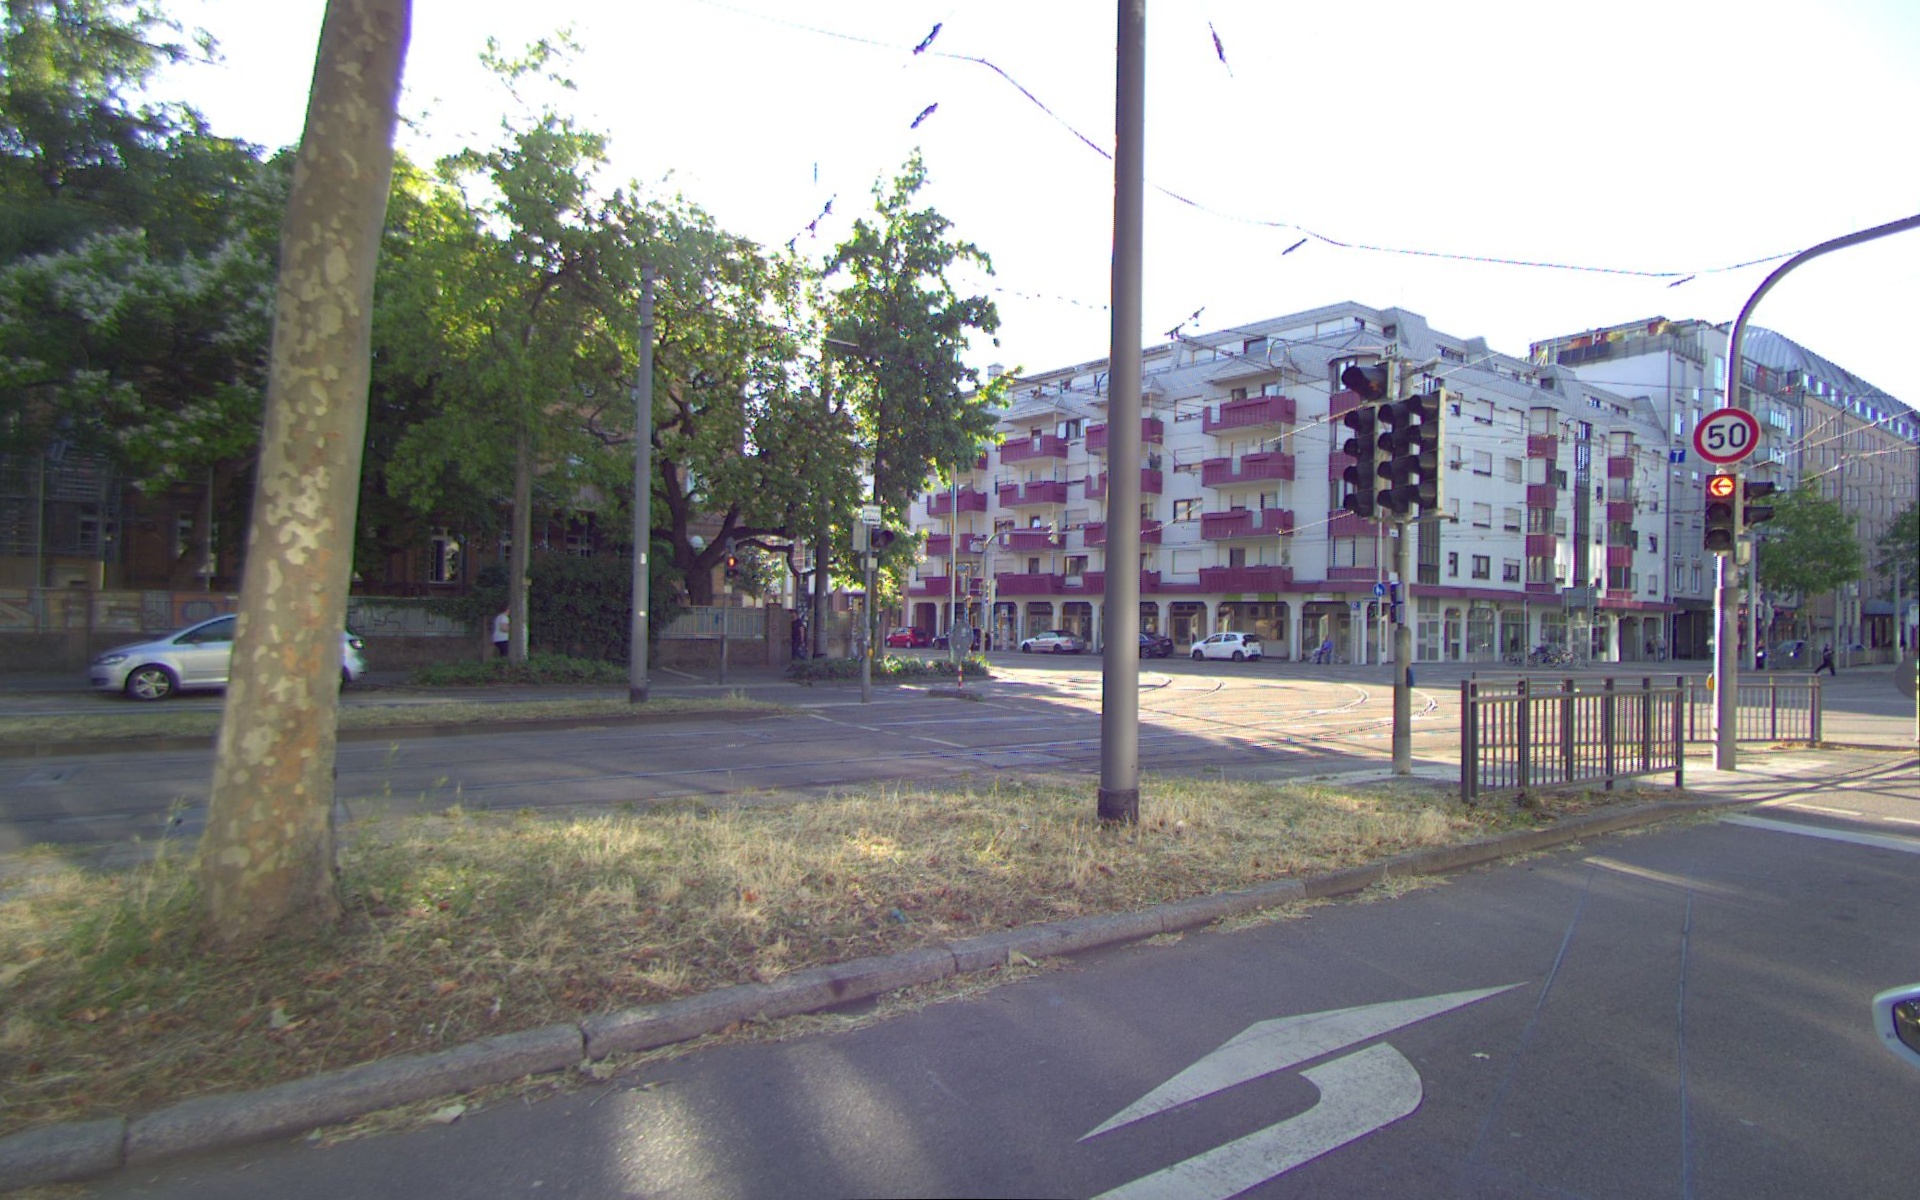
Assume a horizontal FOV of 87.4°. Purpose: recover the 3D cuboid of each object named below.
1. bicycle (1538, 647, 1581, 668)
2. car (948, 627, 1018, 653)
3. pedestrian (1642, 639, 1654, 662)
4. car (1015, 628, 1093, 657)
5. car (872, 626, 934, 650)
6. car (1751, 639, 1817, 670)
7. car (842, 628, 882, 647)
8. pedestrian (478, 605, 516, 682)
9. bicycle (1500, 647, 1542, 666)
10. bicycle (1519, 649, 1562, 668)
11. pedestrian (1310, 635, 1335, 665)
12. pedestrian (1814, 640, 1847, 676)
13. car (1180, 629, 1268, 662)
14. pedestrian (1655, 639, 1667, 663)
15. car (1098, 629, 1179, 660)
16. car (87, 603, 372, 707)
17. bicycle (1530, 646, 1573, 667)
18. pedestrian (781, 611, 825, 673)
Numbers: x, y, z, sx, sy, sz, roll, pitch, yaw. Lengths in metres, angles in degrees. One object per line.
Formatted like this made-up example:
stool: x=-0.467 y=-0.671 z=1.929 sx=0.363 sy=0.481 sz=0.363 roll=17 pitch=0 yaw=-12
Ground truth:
bicycle: x=30.623 y=2.932 z=51.308 sx=0.548 sy=0.998 sz=1.830 roll=2 pitch=-2 yaw=-36
car: x=1.444 y=2.567 z=65.256 sx=1.985 sy=1.576 sz=4.528 roll=2 pitch=-2 yaw=-42
pedestrian: x=44.855 y=3.276 z=65.489 sx=0.582 sy=1.514 sz=0.530 roll=2 pitch=-1 yaw=-37
car: x=5.583 y=2.515 z=60.193 sx=1.985 sy=1.576 sz=4.528 roll=2 pitch=-2 yaw=-42
car: x=-4.056 y=2.658 z=71.257 sx=1.985 sy=1.576 sz=4.528 roll=2 pitch=-2 yaw=-42
car: x=47.344 y=3.089 z=57.693 sx=4.218 sy=1.695 sz=1.942 roll=2 pitch=-1 yaw=-35
car: x=-7.312 y=2.780 z=74.807 sx=1.449 sy=1.351 sz=3.144 roll=2 pitch=-2 yaw=-41
pedestrian: x=-10.492 y=0.977 z=22.770 sx=0.626 sy=1.687 sz=0.563 roll=2 pitch=1 yaw=-37
bicycle: x=28.133 y=2.833 z=50.399 sx=0.547 sy=0.865 sz=1.833 roll=2 pitch=-2 yaw=-31
bicycle: x=29.049 y=2.922 z=50.313 sx=0.547 sy=0.865 sz=1.833 roll=2 pitch=-2 yaw=-31
pedestrian: x=17.646 y=2.418 z=48.902 sx=0.831 sy=1.402 sz=0.848 roll=2 pitch=-2 yaw=-45
pedestrian: x=39.620 y=2.624 z=45.700 sx=0.689 sy=1.564 sz=1.037 roll=2 pitch=-2 yaw=-39
car: x=13.541 y=2.299 z=51.719 sx=1.985 sy=1.576 sz=3.951 roll=2 pitch=-2 yaw=-42
pedestrian: x=45.424 y=3.293 z=65.093 sx=0.582 sy=1.514 sz=0.530 roll=2 pitch=-1 yaw=-37
car: x=9.831 y=2.446 z=55.582 sx=1.985 sy=1.576 sz=4.072 roll=2 pitch=-2 yaw=-42
car: x=-13.452 y=0.978 z=18.705 sx=4.062 sy=1.641 sz=2.066 roll=2 pitch=1 yaw=-38
bicycle: x=30.066 y=2.885 z=51.062 sx=0.548 sy=0.998 sz=1.830 roll=2 pitch=-2 yaw=-36
pedestrian: x=-4.522 y=1.203 z=29.021 sx=1.010 sy=1.775 sz=0.728 roll=2 pitch=-1 yaw=-37
